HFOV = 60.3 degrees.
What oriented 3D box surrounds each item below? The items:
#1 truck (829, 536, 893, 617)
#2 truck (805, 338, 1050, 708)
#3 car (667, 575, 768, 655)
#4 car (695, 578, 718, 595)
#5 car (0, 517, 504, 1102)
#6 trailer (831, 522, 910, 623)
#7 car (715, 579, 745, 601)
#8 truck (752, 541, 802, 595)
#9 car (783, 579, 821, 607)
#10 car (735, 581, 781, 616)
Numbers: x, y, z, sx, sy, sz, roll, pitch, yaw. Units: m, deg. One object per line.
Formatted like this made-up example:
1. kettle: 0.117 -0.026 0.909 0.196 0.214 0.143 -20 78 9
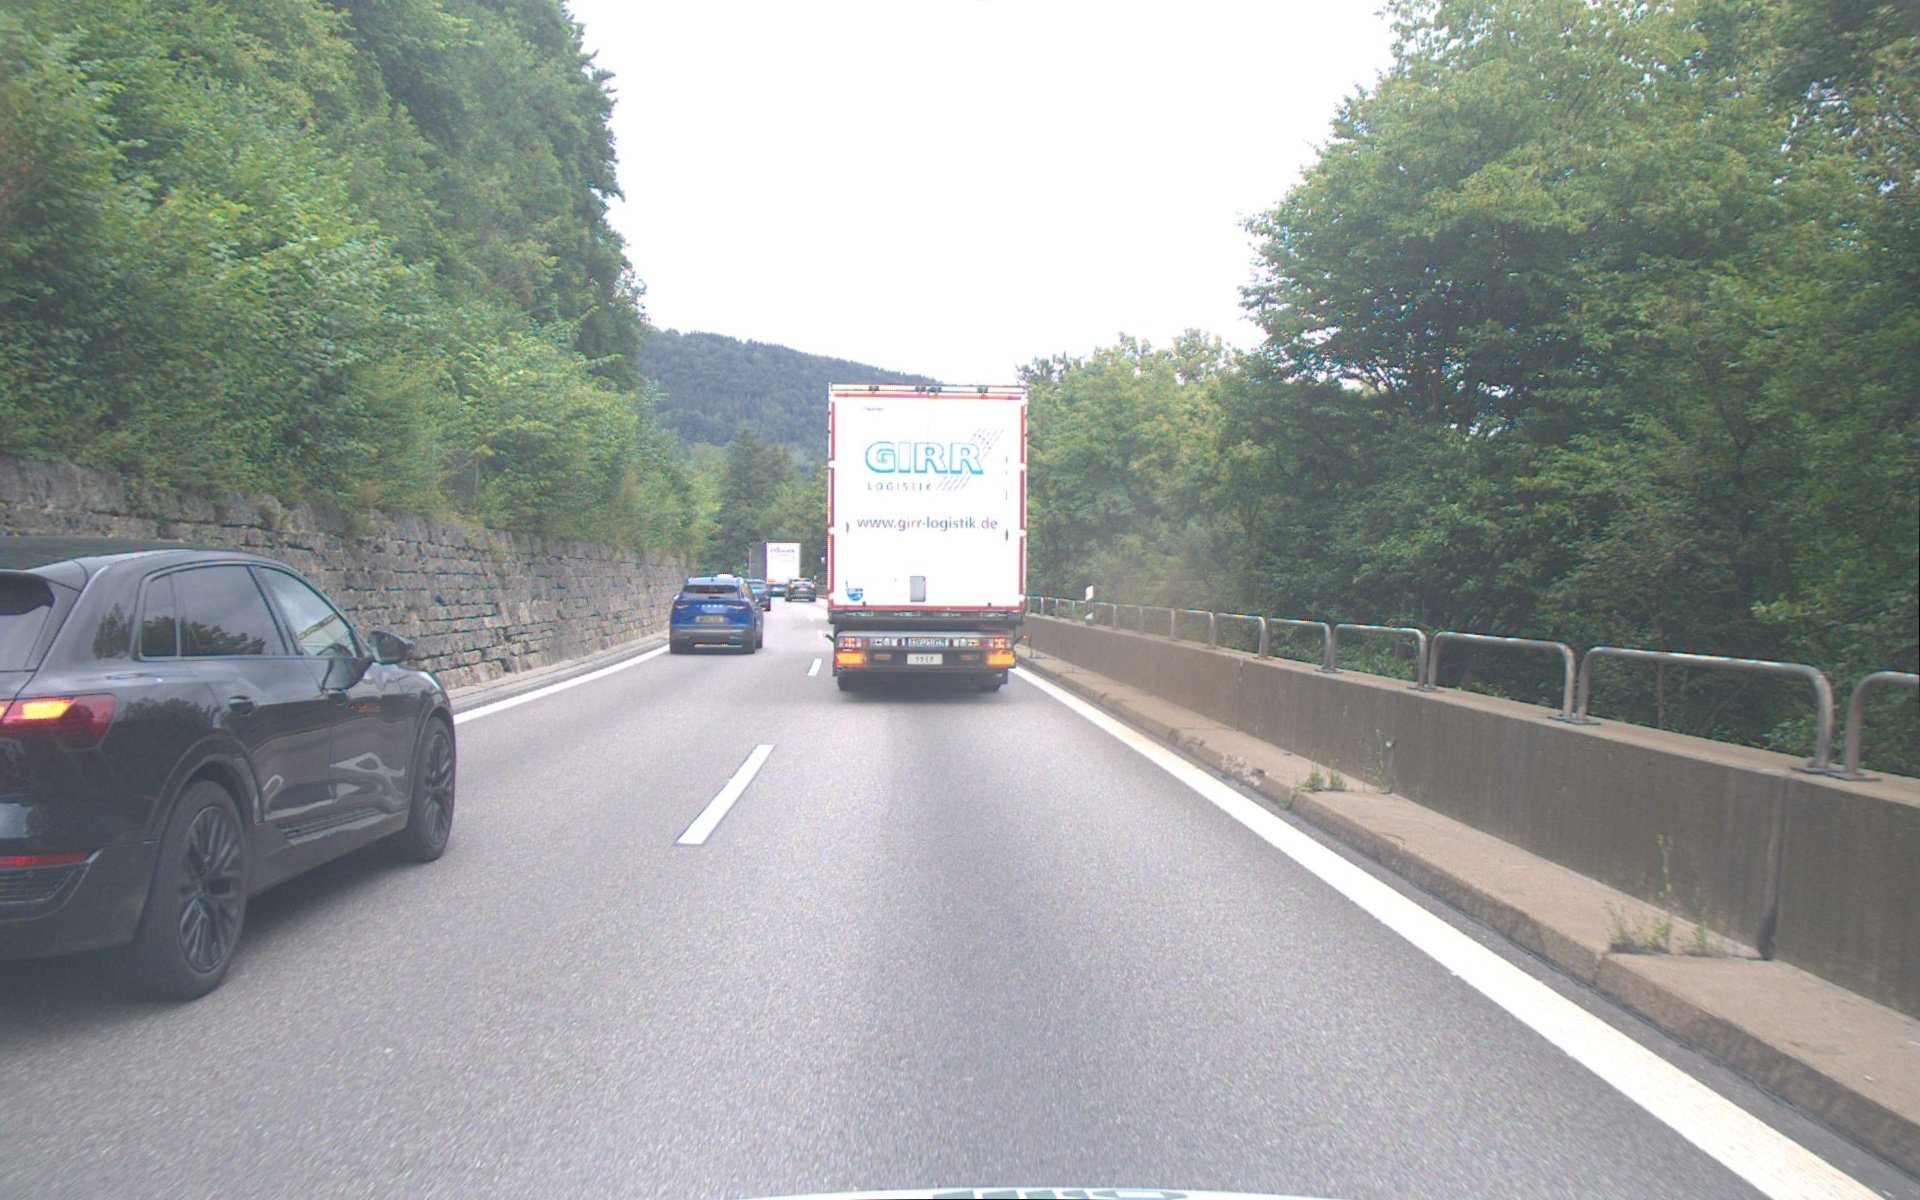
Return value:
1. truck: -3.800 -0.863 62.842 2.166 2.901 4.998 1 0 -6
2. truck: -0.868 -1.023 28.009 3.023 4.542 15.144 0 1 -4
3. car: -5.305 0.292 36.682 1.955 1.660 5.003 0 0 -5
4. car: -25.160 -1.381 163.987 1.864 1.577 4.235 1 1 -13
5. car: -3.572 0.562 7.169 1.953 1.660 5.006 1 0 -2
6. trailer: -3.233 -0.903 57.245 2.169 3.101 11.125 1 0 -6
7. car: -17.288 -0.785 124.419 1.864 1.577 4.236 1 1 -13
8. truck: -14.073 -2.395 126.359 2.588 3.925 12.322 0 1 -12
9. car: -10.021 -0.453 104.814 2.024 1.683 3.989 0 1 -11
10. car: -9.666 -0.091 78.941 1.957 1.624 4.343 1 0 -10
